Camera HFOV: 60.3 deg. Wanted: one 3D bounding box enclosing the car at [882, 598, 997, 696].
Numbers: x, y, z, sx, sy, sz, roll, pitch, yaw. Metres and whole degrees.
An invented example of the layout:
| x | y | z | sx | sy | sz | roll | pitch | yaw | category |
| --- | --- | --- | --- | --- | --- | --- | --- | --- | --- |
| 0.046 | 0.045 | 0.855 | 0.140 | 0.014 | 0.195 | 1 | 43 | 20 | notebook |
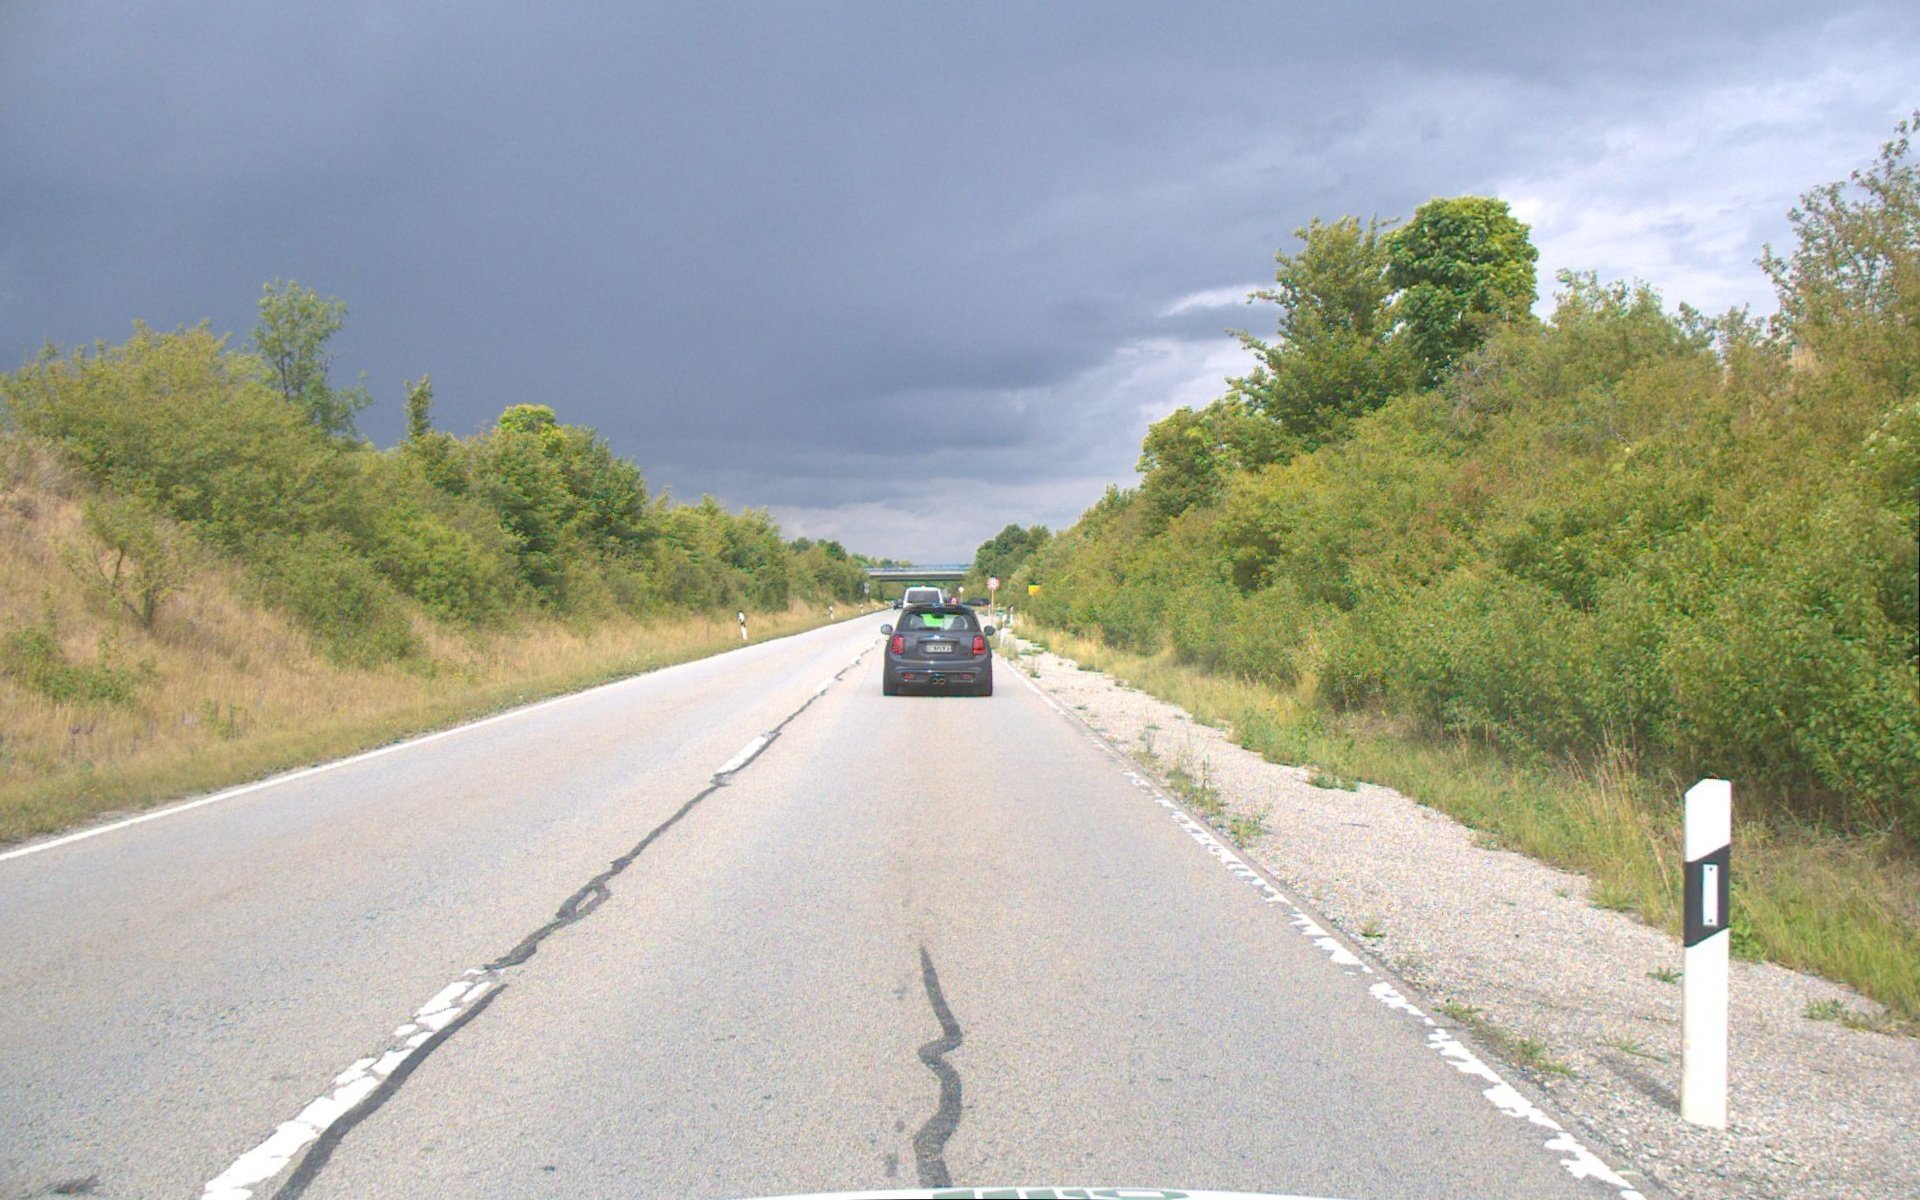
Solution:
| x | y | z | sx | sy | sz | roll | pitch | yaw | category |
| --- | --- | --- | --- | --- | --- | --- | --- | --- | --- |
| -0.352 | 0.715 | 26.998 | 1.721 | 1.452 | 3.999 | 1 | 0 | -1 | car |

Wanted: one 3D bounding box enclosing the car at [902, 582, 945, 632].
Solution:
| x | y | z | sx | sy | sz | roll | pitch | yaw | category |
| --- | --- | --- | --- | --- | --- | --- | --- | --- | --- |
| -1.581 | 0.310 | 71.925 | 1.782 | 2.090 | 3.999 | 1 | 0 | -1 | car |

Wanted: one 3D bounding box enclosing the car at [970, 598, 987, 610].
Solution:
| x | y | z | sx | sy | sz | roll | pitch | yaw | category |
| --- | --- | --- | --- | --- | --- | --- | --- | --- | --- |
| 2.409 | 0.526 | 217.428 | 1.954 | 1.579 | 3.997 | 1 | 0 | -3 | car |

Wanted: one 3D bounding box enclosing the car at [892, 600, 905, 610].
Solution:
| x | y | z | sx | sy | sz | roll | pitch | yaw | category |
| --- | --- | --- | --- | --- | --- | --- | --- | --- | --- |
| -8.386 | 0.633 | 226.134 | 1.666 | 1.353 | 3.999 | -1 | 0 | -2 | car |
